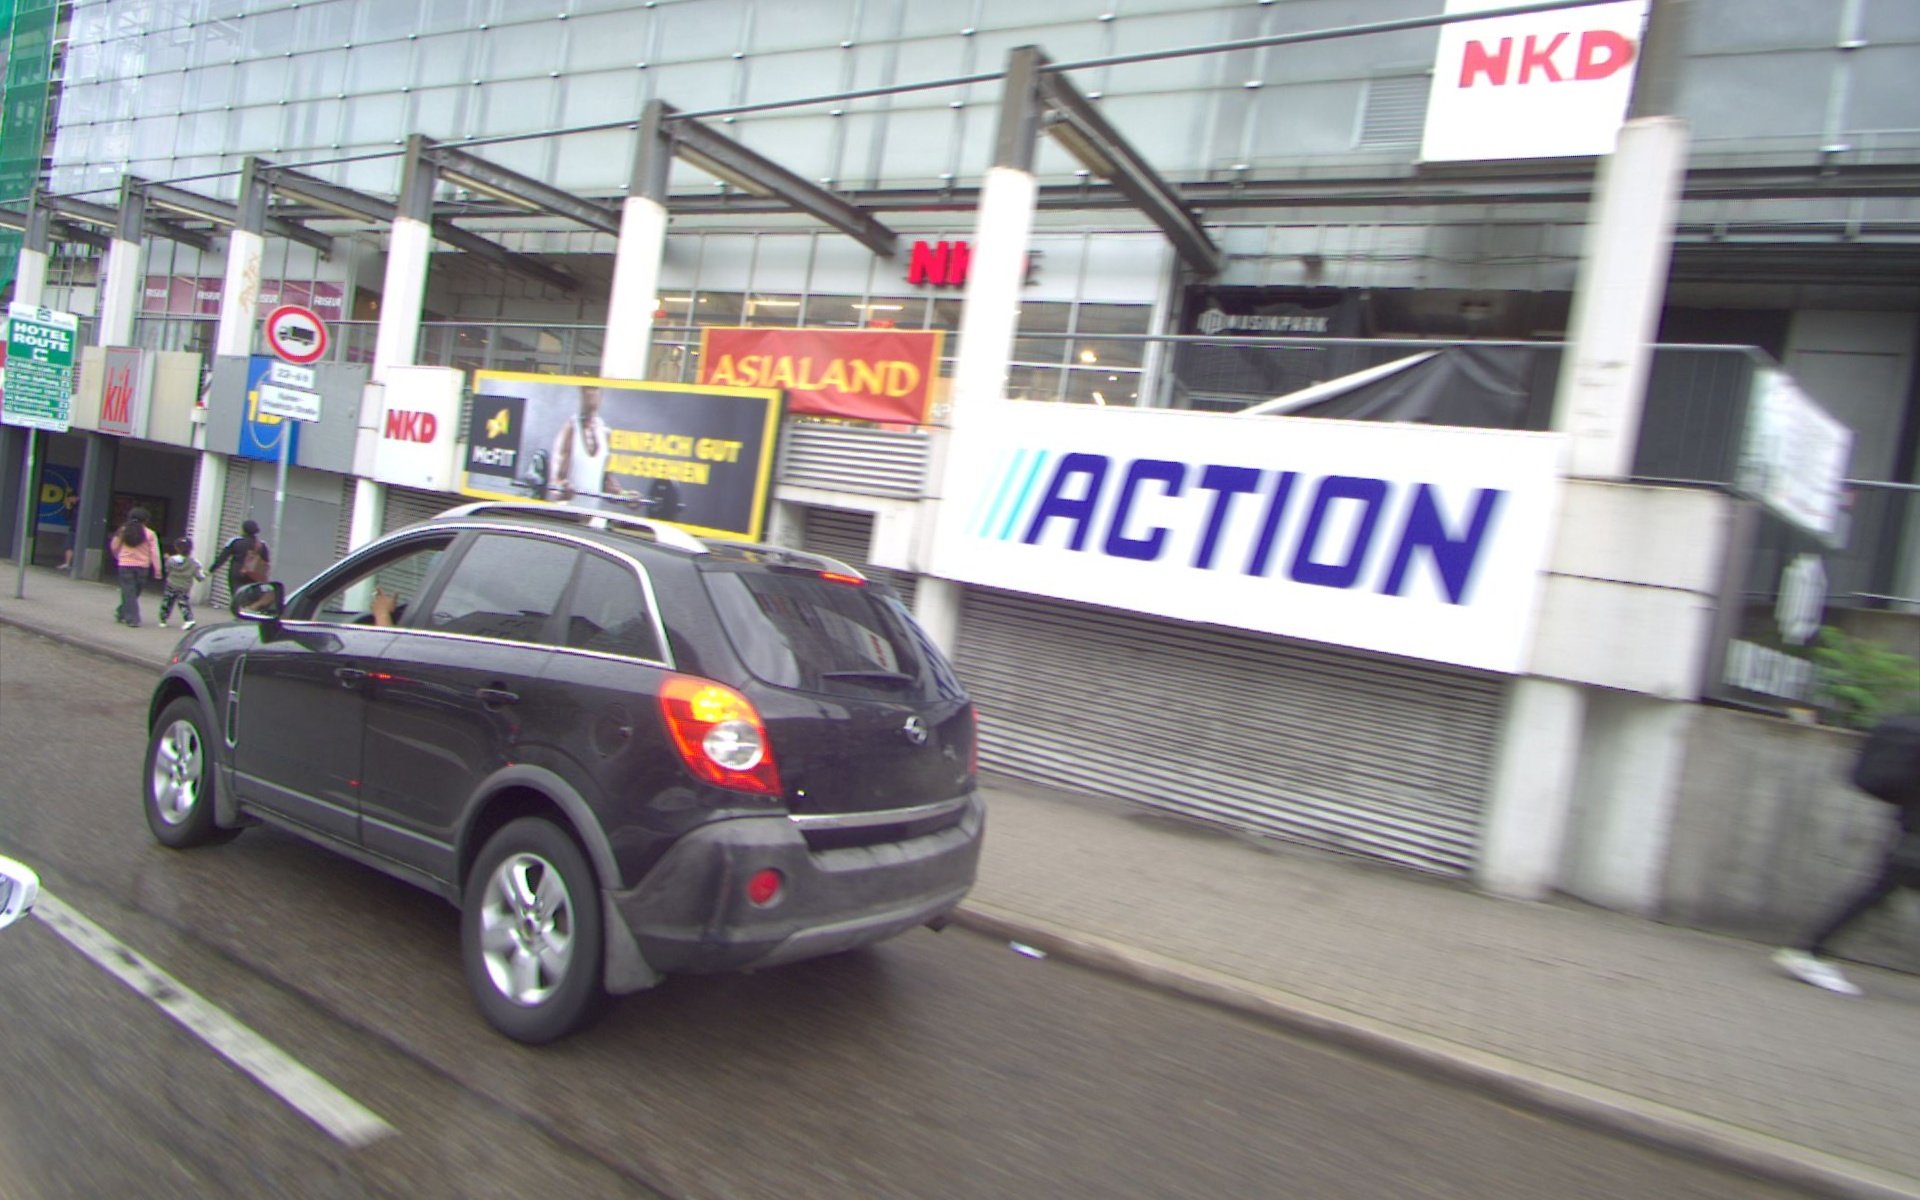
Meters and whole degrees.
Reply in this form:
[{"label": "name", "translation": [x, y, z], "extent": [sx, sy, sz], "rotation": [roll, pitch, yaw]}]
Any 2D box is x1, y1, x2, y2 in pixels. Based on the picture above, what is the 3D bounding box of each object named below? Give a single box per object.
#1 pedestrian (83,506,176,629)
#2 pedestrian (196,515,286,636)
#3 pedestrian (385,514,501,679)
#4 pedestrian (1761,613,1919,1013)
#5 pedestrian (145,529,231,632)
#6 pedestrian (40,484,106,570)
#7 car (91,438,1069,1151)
[{"label": "pedestrian", "translation": [-10.444, -0.401, 12.653], "extent": [0.588, 1.457, 0.745], "rotation": [8, 3, 38]}, {"label": "pedestrian", "translation": [-9.467, -0.321, 13.240], "extent": [0.770, 1.486, 0.695], "rotation": [5, 2, -45]}, {"label": "pedestrian", "translation": [-5.770, -0.023, 11.240], "extent": [0.608, 1.745, 0.835], "rotation": [8, 2, 38]}, {"label": "pedestrian", "translation": [4.855, 1.065, 5.037], "extent": [0.994, 1.864, 0.600], "rotation": [8, 3, 27]}, {"label": "pedestrian", "translation": [-9.925, -0.242, 12.938], "extent": [0.545, 1.223, 0.690], "rotation": [8, 2, 38]}, {"label": "pedestrian", "translation": [-19.269, -1.567, 21.852], "extent": [0.803, 1.737, 0.670], "rotation": [7, 2, 19]}, {"label": "car", "translation": [-1.915, 0.414, 4.633], "extent": [4.230, 1.808, 1.909], "rotation": [8, 1, 32]}]
